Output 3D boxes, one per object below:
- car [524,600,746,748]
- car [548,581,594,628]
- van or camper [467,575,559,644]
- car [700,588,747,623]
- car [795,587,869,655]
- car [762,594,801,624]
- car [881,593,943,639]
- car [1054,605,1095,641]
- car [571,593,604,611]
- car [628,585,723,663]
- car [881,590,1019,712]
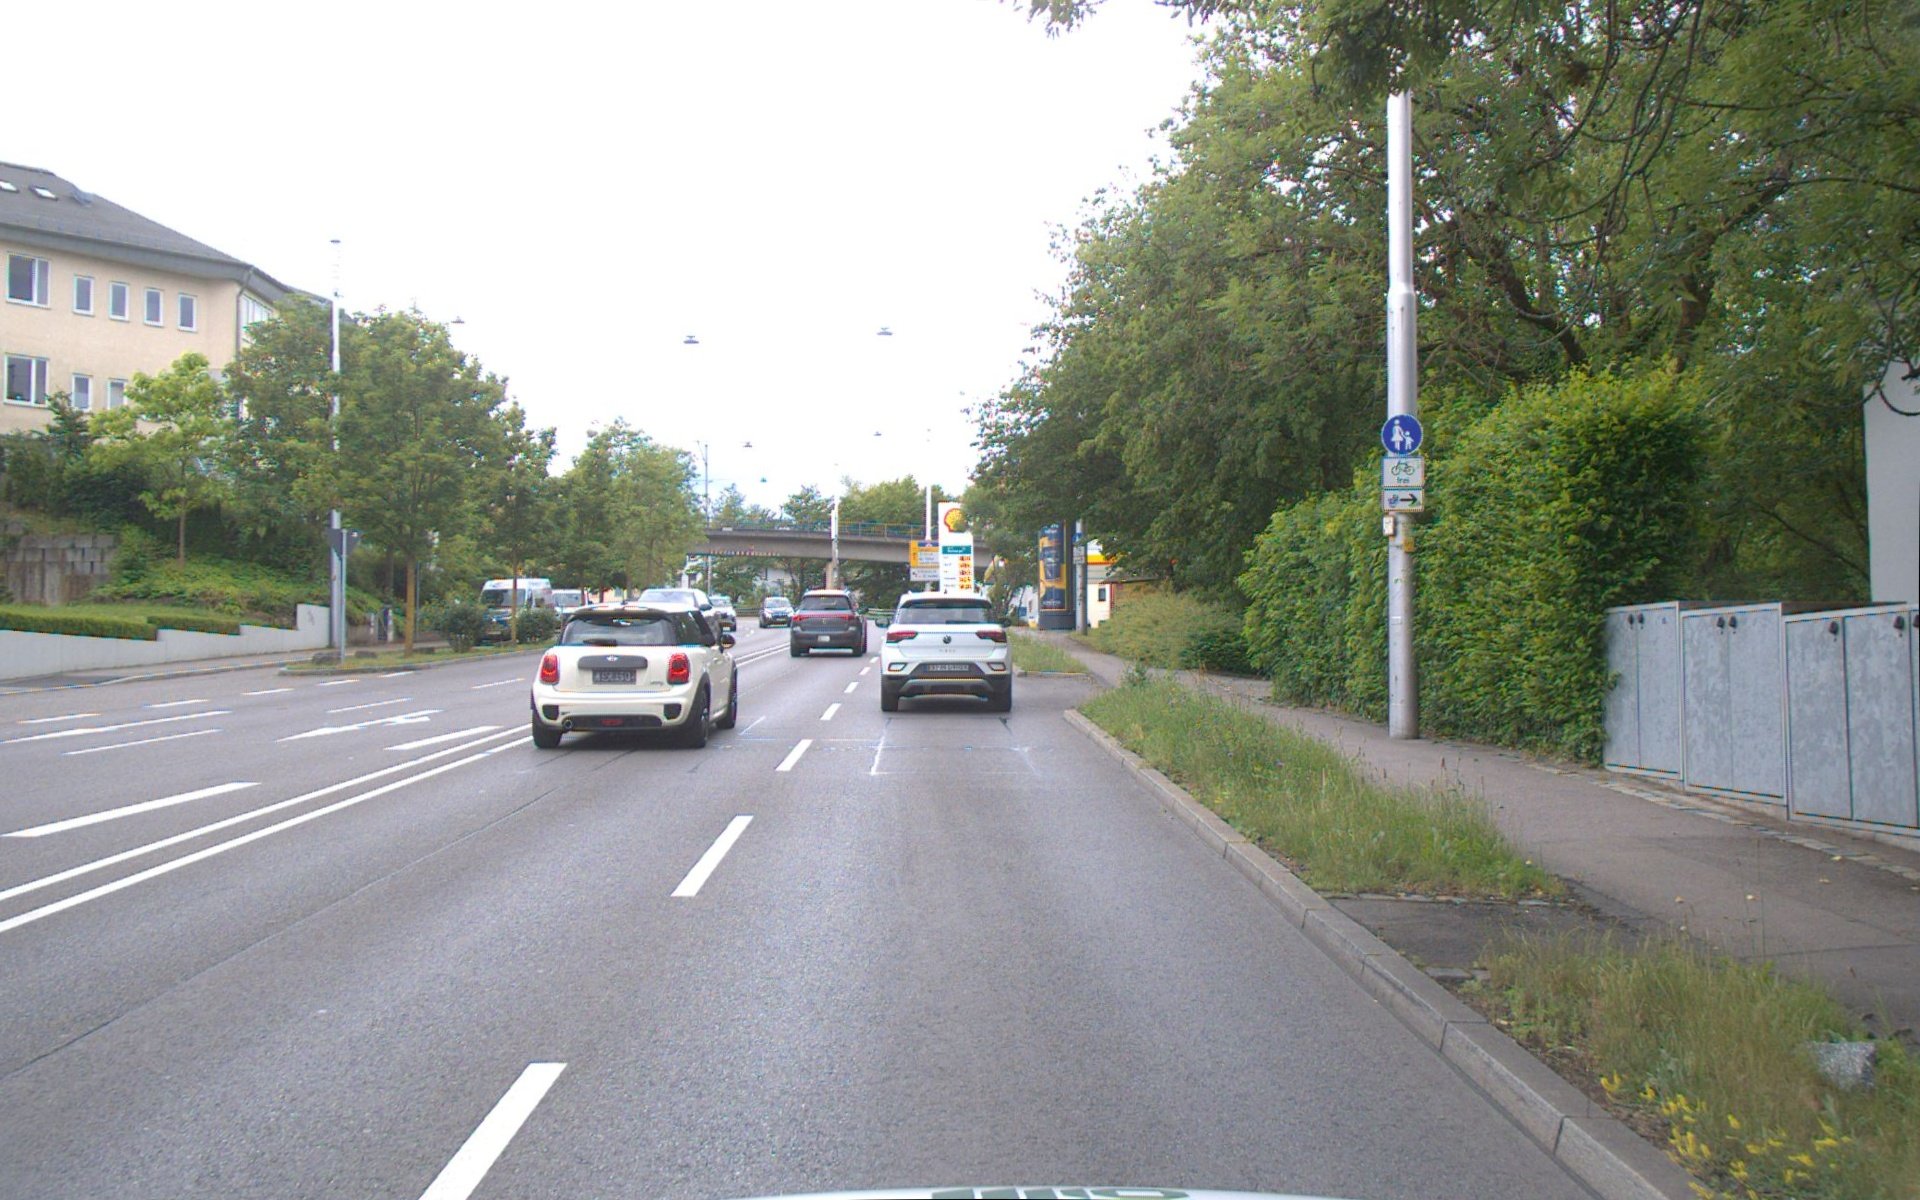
[{"bbox_3d":[-3.297,0.704,17.378,1.687,1.400,3.456,0,0,-1],"label":"car"},{"bbox_3d":[-20.400,0.243,86.685,2.229,2.312,6.304,-1,0,-13],"label":"car"},{"bbox_3d":[-17.251,0.366,64.160,1.952,2.516,5.710,-1,0,0],"label":"van or camper"},{"bbox_3d":[-11.976,0.274,83.999,1.728,1.738,4.869,0,0,-1],"label":"car"},{"bbox_3d":[-3.244,0.523,42.516,1.687,1.668,3.456,0,0,-1],"label":"car"},{"bbox_3d":[-9.687,0.475,90.001,1.728,1.620,4.365,0,0,-1],"label":"car"},{"bbox_3d":[-1.580,0.504,53.590,1.644,1.433,3.450,0,0,-8],"label":"car"},{"bbox_3d":[5.421,1.115,78.646,1.700,1.512,3.877,-1,-4,1],"label":"car"},{"bbox_3d":[-33.683,0.181,149.410,1.765,1.603,4.427,-2,0,-28],"label":"car"},{"bbox_3d":[-6.760,0.547,39.663,1.811,1.733,4.758,-1,0,-5],"label":"car"},{"bbox_3d":[-0.155,0.649,22.774,1.760,1.545,3.456,0,0,-1],"label":"car"}]
